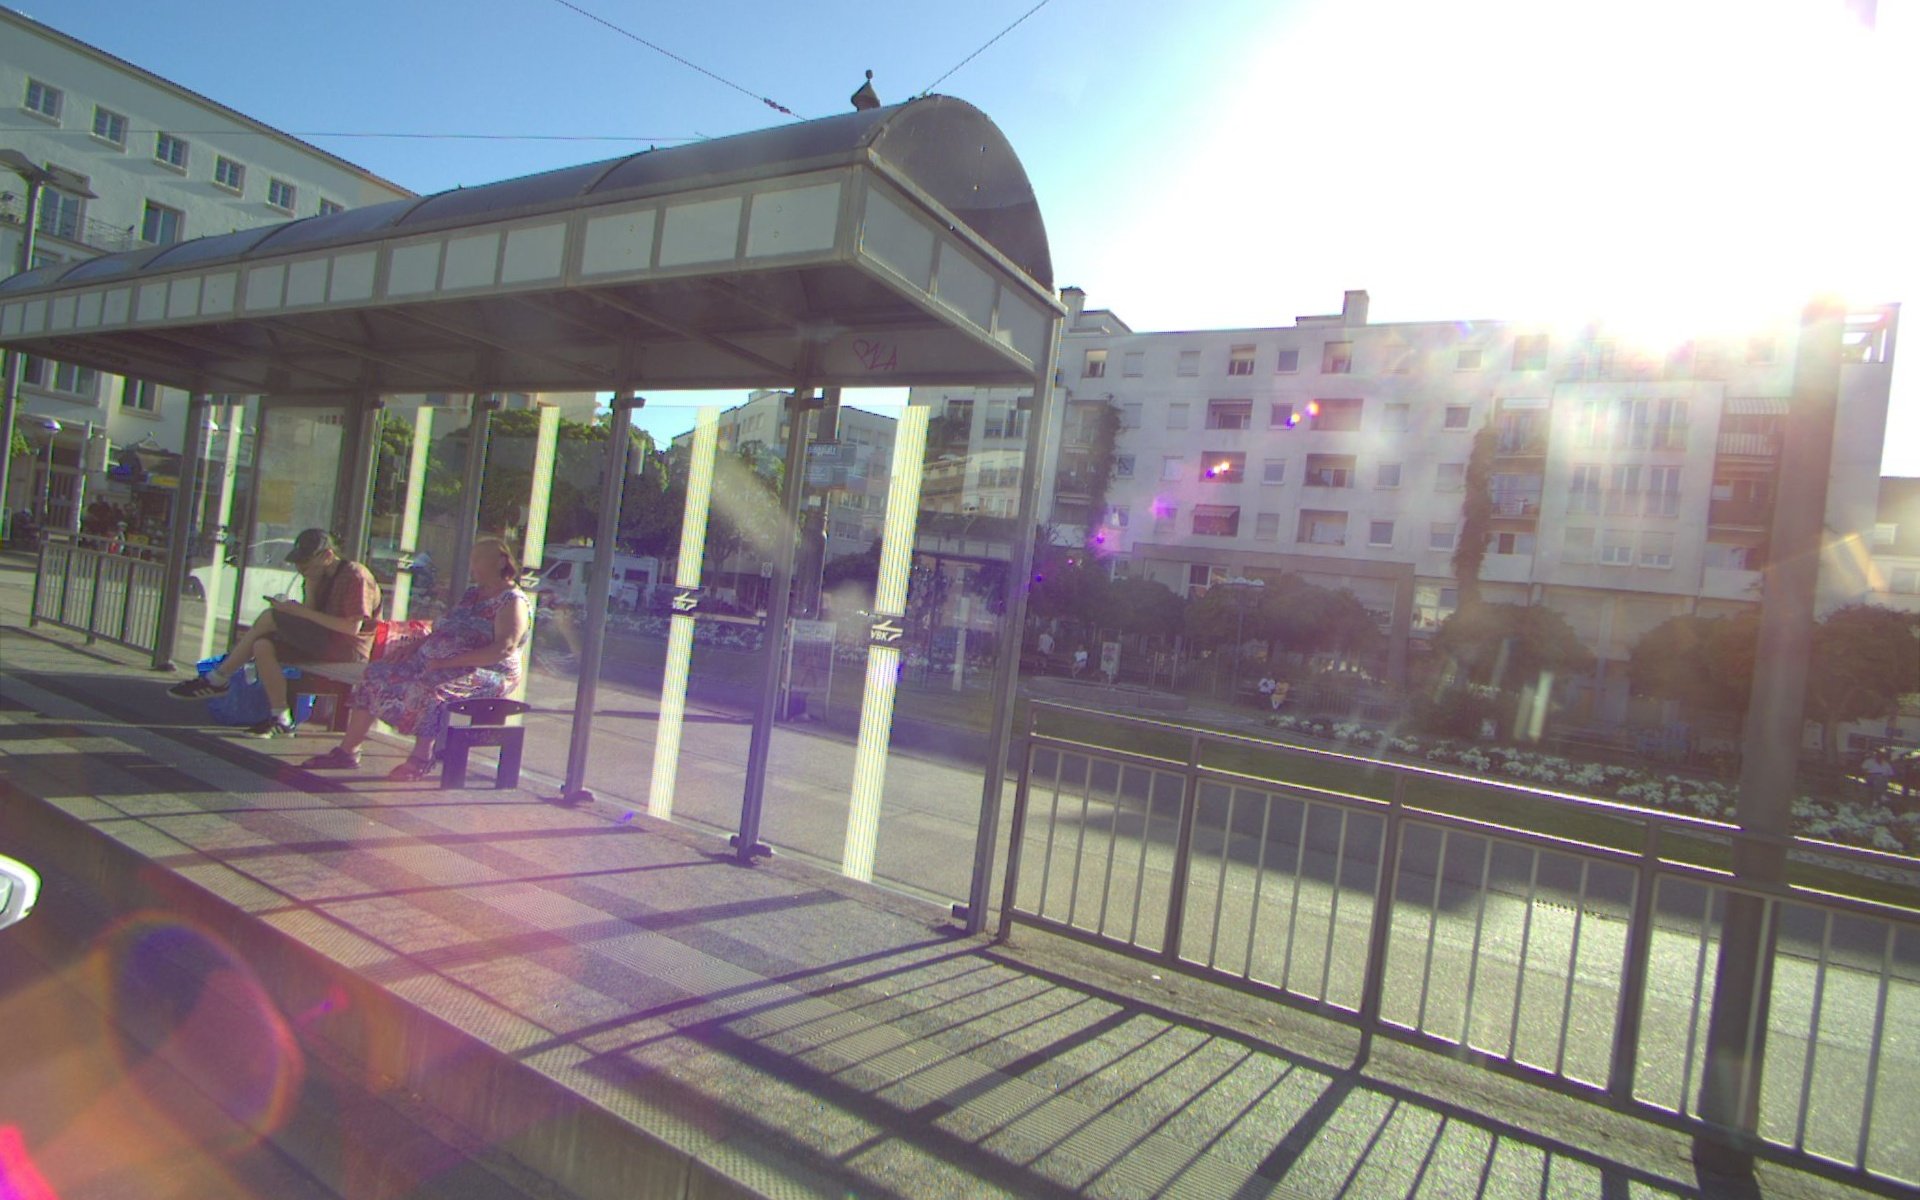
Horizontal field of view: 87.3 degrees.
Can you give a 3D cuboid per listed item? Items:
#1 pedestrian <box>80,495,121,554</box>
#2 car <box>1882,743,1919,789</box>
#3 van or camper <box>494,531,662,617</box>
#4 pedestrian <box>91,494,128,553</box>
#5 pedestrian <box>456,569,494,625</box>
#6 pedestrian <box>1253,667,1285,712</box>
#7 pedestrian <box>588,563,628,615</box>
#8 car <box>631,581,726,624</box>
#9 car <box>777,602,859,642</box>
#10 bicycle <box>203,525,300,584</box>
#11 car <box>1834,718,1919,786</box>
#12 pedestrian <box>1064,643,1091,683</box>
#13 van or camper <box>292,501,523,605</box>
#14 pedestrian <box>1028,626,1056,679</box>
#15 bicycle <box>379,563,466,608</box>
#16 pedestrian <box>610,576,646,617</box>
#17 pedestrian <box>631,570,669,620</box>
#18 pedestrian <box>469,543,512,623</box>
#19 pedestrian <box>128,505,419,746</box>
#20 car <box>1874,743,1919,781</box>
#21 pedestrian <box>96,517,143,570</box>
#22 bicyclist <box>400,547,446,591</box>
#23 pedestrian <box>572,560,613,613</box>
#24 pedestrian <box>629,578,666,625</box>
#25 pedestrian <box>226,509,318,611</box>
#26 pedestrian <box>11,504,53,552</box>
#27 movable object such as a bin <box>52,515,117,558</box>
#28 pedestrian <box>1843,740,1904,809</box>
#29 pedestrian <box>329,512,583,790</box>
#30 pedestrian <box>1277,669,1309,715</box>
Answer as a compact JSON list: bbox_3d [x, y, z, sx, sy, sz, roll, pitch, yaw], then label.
[{"bbox_3d":[-29.350,-2.580,34.355,0.667,1.861,0.785,7,0,35],"label":"pedestrian"},{"bbox_3d":[36.591,6.342,36.801,3.941,1.535,1.993,7,-1,38],"label":"car"},{"bbox_3d":[-16.497,-1.049,43.832,2.340,2.873,6.411,7,-1,35],"label":"van or camper"},{"bbox_3d":[-28.582,-2.561,33.797,0.649,1.861,0.653,7,0,35],"label":"pedestrian"},{"bbox_3d":[-10.952,-0.076,22.702,0.550,1.182,0.469,6,-2,40],"label":"pedestrian"},{"bbox_3d":[9.604,2.780,31.276,0.718,1.287,0.745,7,0,11],"label":"pedestrian"},{"bbox_3d":[-11.895,-0.361,34.045,0.651,1.605,0.902,7,0,35],"label":"pedestrian"},{"bbox_3d":[-13.893,0.122,49.839,1.974,1.529,3.982,6,-3,43],"label":"car"},{"bbox_3d":[-6.712,1.071,47.951,1.964,1.503,4.000,7,-1,23],"label":"car"},{"bbox_3d":[-23.533,-1.485,33.482,0.714,1.548,2.391,7,-3,31],"label":"bicycle"},{"bbox_3d":[43.869,7.113,45.152,6.284,2.585,2.813,7,-1,27],"label":"car"},{"bbox_3d":[4.069,2.172,34.885,0.718,1.287,1.042,7,0,11],"label":"pedestrian"},{"bbox_3d":[-20.433,-1.627,37.697,2.331,2.780,7.132,9,0,32],"label":"van or camper"},{"bbox_3d":[2.852,1.808,34.804,0.661,1.745,1.028,7,0,11],"label":"pedestrian"},{"bbox_3d":[-17.603,-0.461,32.993,0.711,1.073,2.314,7,-3,43],"label":"bicycle"},{"bbox_3d":[-11.560,-0.110,35.050,0.595,1.295,0.902,7,0,36],"label":"pedestrian"},{"bbox_3d":[-10.860,-0.178,35.266,0.651,1.605,0.902,7,0,35],"label":"pedestrian"},{"bbox_3d":[-10.926,-0.391,23.409,0.520,1.765,0.557,6,-1,42],"label":"pedestrian"},{"bbox_3d":[-4.064,0.170,6.001,0.908,1.238,1.001,6,-4,32],"label":"pedestrian"},{"bbox_3d":[39.772,6.791,40.646,3.941,1.303,1.993,7,-1,38],"label":"car"},{"bbox_3d":[-25.240,-1.687,30.213,0.742,1.427,0.731,11,1,32],"label":"pedestrian"},{"bbox_3d":[-17.576,-1.016,32.948,0.941,1.239,0.930,7,-2,43],"label":"bicyclist"},{"bbox_3d":[-12.708,-0.454,34.790,0.684,1.705,0.902,7,0,35],"label":"pedestrian"},{"bbox_3d":[-11.589,0.047,37.315,0.651,1.604,0.902,7,0,35],"label":"pedestrian"},{"bbox_3d":[-13.999,-0.816,20.481,1.110,1.900,0.983,6,-1,29],"label":"pedestrian"},{"bbox_3d":[-27.944,-2.159,30.293,0.736,1.332,0.622,7,0,-35],"label":"pedestrian"},{"bbox_3d":[-28.134,-2.033,32.318,1.197,1.167,1.200,7,-1,32],"label":"movable object such as a bin"},{"bbox_3d":[21.579,4.106,23.797,0.923,1.428,1.521,7,-1,42],"label":"pedestrian"},{"bbox_3d":[-2.701,0.292,5.453,0.613,1.348,0.861,6,-4,31],"label":"pedestrian"},{"bbox_3d":[10.307,2.838,31.139,0.718,1.287,0.745,7,0,11],"label":"pedestrian"}]
